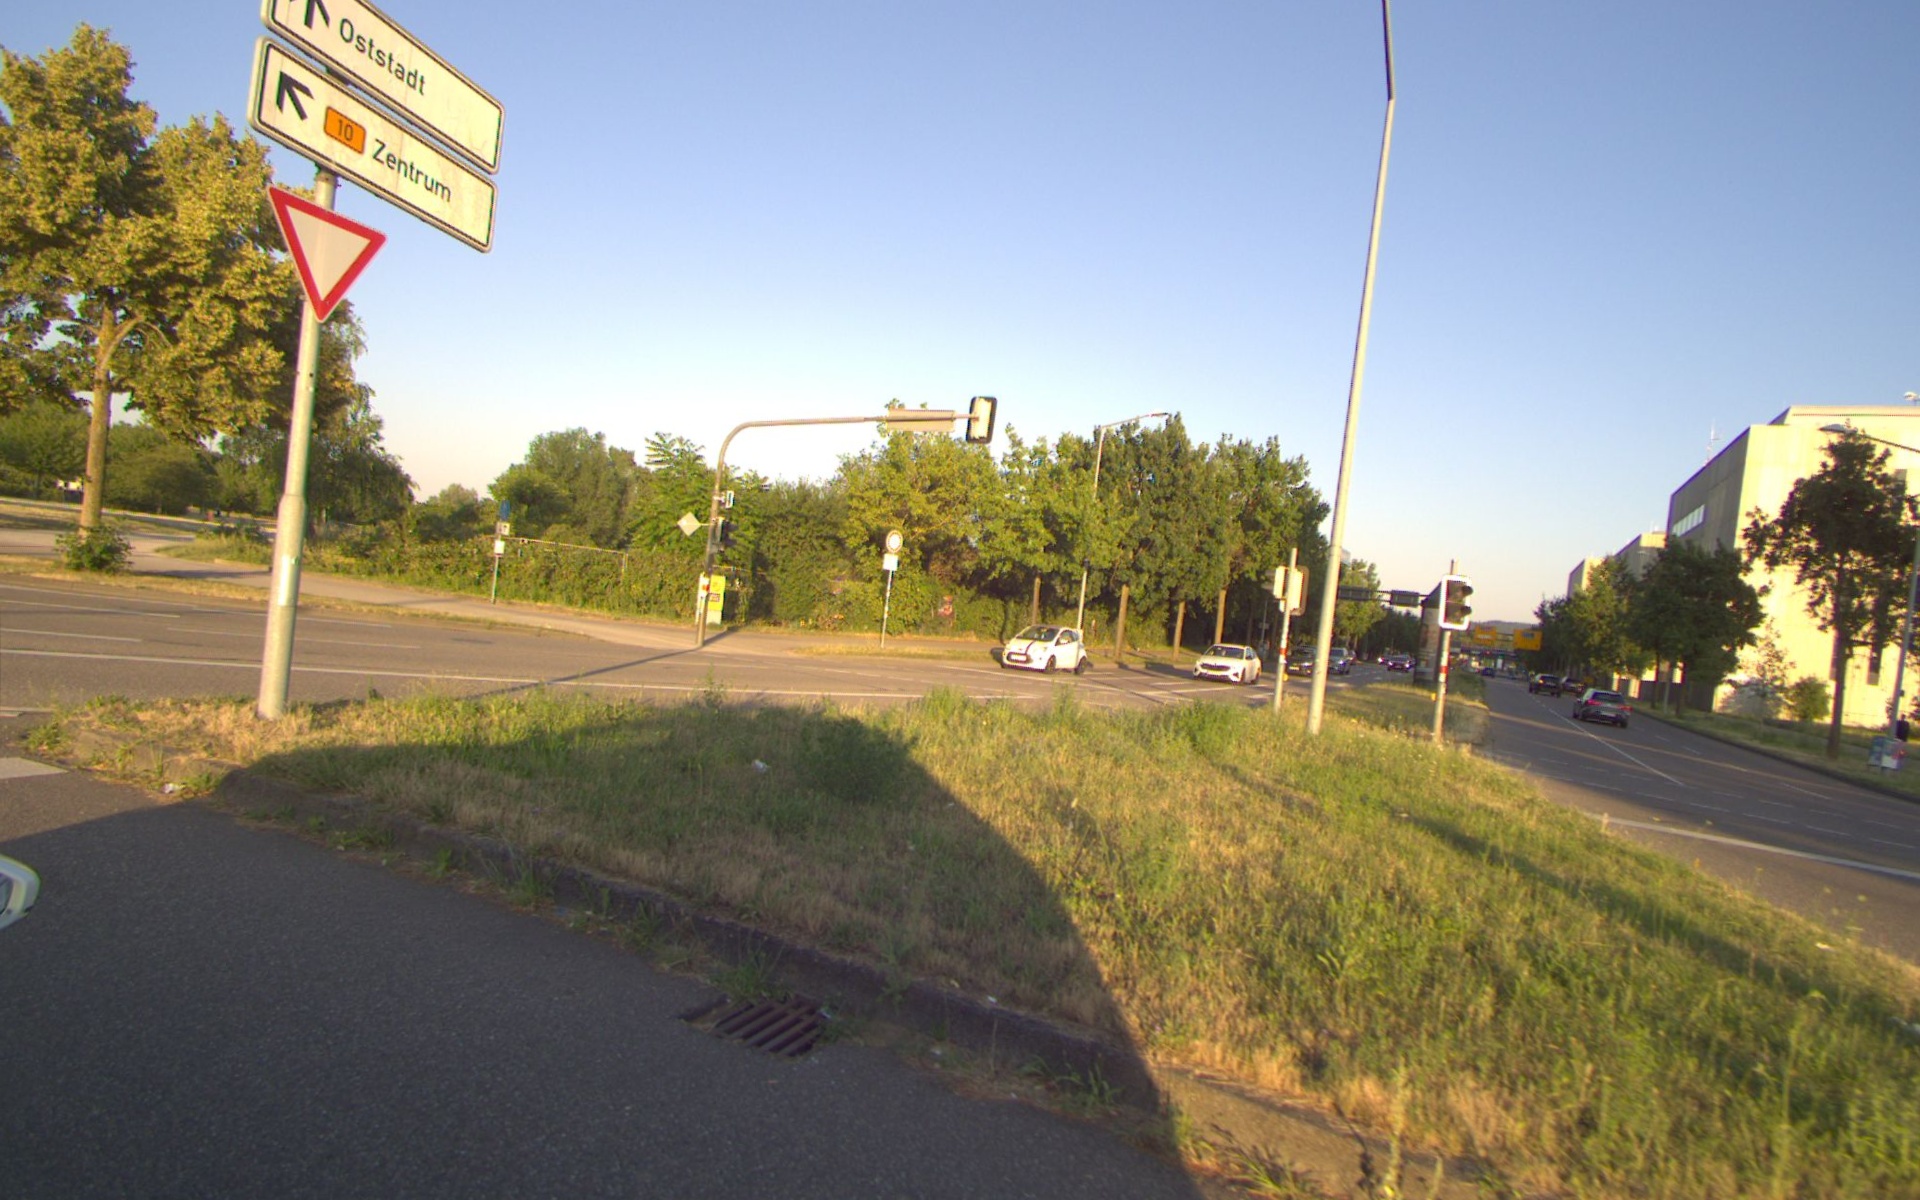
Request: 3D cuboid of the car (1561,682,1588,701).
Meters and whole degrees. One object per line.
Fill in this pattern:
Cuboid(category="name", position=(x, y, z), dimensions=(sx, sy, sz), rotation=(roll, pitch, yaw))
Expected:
Cuboid(category="car", position=(56.800, 8.439, 93.063), dimensions=(1.721, 1.507, 4.128), rotation=(8, 0, 29))

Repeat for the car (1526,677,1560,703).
Cuboid(category="car", position=(44.443, 6.842, 76.772), dimensions=(1.786, 1.544, 4.130), rotation=(8, 1, 26))

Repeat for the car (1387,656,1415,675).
Cuboid(category="car", position=(40.625, 6.042, 92.686), dimensions=(1.814, 1.478, 4.575), rotation=(8, 0, 29))

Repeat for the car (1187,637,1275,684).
Cuboid(category="car", position=(10.237, 2.307, 37.780), dimensions=(1.700, 1.467, 4.536), rotation=(7, 0, 34))

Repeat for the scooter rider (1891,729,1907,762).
Cuboid(category="scooter rider", position=(40.224, 6.224, 43.090), dimensions=(0.260, 1.356, 0.406), rotation=(8, 2, 27))

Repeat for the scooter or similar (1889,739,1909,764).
Cuboid(category="scooter or similar", position=(40.222, 6.487, 43.115), dimensions=(0.243, 0.925, 1.037), rotation=(8, 1, 27))

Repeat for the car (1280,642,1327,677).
Cuboid(category="car", position=(19.064, 3.323, 55.728), dimensions=(1.772, 1.653, 4.452), rotation=(6, -1, 27))

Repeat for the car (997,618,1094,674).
Cuboid(category="car", position=(2.745, 1.492, 31.789), dimensions=(1.528, 1.460, 3.479), rotation=(6, -1, 32))

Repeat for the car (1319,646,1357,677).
Cuboid(category="car", position=(25.316, 4.113, 67.241), dimensions=(1.888, 1.775, 4.918), rotation=(6, -1, 25))

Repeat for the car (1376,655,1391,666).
Cuboid(category="car", position=(58.507, 8.358, 138.924), dimensions=(1.591, 1.325, 3.712), rotation=(6, -1, 28))

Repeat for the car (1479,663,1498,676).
Cuboid(category="car", position=(75.168, 9.891, 143.072), dimensions=(1.964, 1.489, 3.996), rotation=(8, 1, 25))

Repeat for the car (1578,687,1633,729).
Cuboid(category="car", position=(27.774, 4.611, 43.234), dimensions=(1.724, 1.442, 4.122), rotation=(8, 1, 35))
